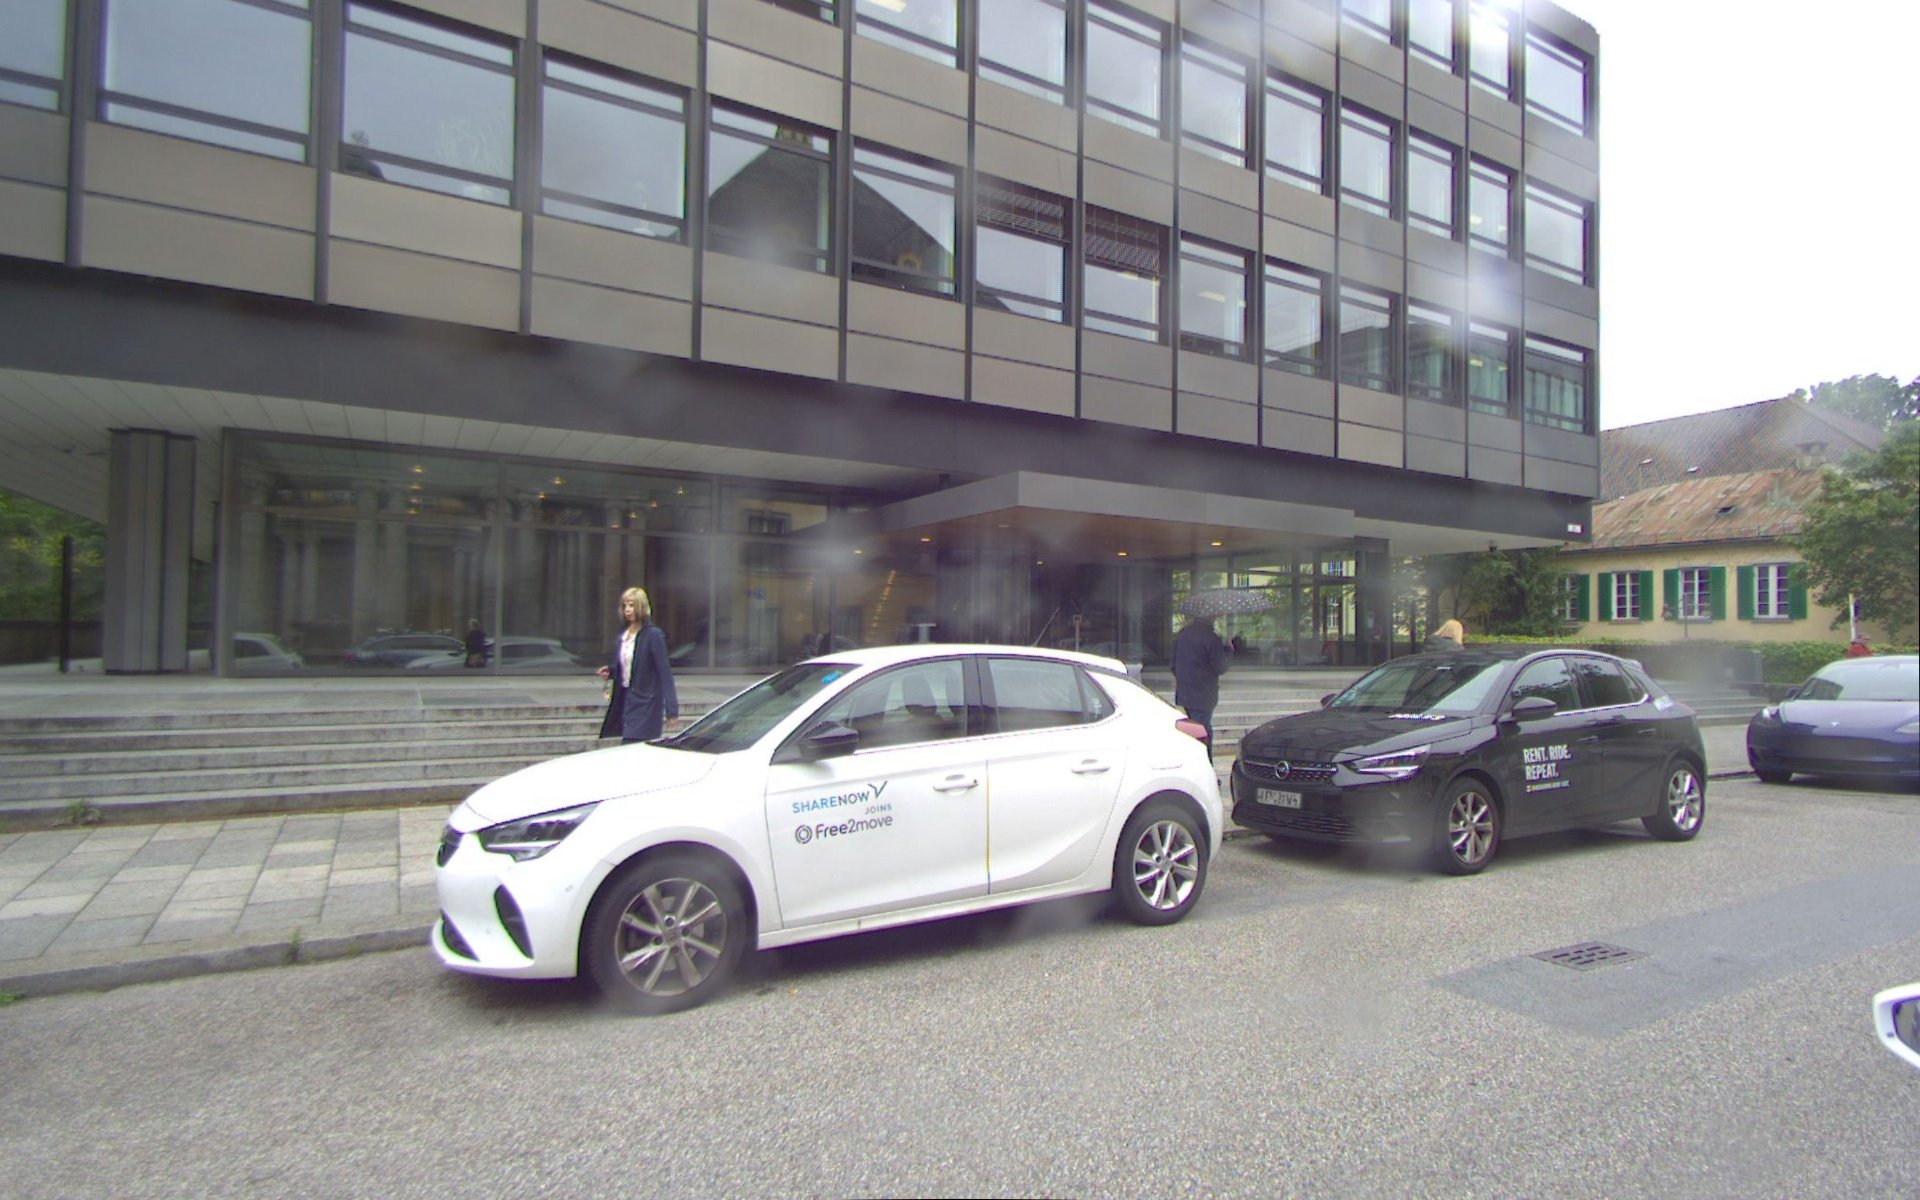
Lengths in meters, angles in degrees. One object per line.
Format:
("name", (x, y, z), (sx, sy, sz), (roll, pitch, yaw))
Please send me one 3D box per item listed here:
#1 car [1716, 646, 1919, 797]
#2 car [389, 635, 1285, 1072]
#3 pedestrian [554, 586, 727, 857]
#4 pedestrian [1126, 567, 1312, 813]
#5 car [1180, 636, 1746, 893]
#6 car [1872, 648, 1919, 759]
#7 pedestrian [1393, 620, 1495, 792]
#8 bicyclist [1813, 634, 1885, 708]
("car", (11.000, 1.315, 11.643), (4.863, 1.458, 1.913), (2, -5, -32))
("car", (-0.480, 0.975, 5.188), (4.228, 1.458, 1.675), (2, -5, -30))
("pedestrian", (-2.265, 0.815, 7.190), (0.677, 1.775, 0.892), (2, -1, 27))
("pedestrian", (2.380, 0.778, 9.290), (1.207, 2.082, 1.129), (2, -1, -30))
("car", (3.864, 1.068, 7.612), (4.184, 1.480, 1.733), (2, -5, -29))
("car", (15.409, 1.452, 14.409), (4.824, 1.510, 1.986), (2, -4, -29))
("pedestrian", (5.274, 1.113, 10.944), (0.745, 1.772, 0.947), (-1, -2, 44))
("bicyclist", (19.081, 1.510, 21.591), (1.077, 1.517, 0.672), (0, -3, 35))
